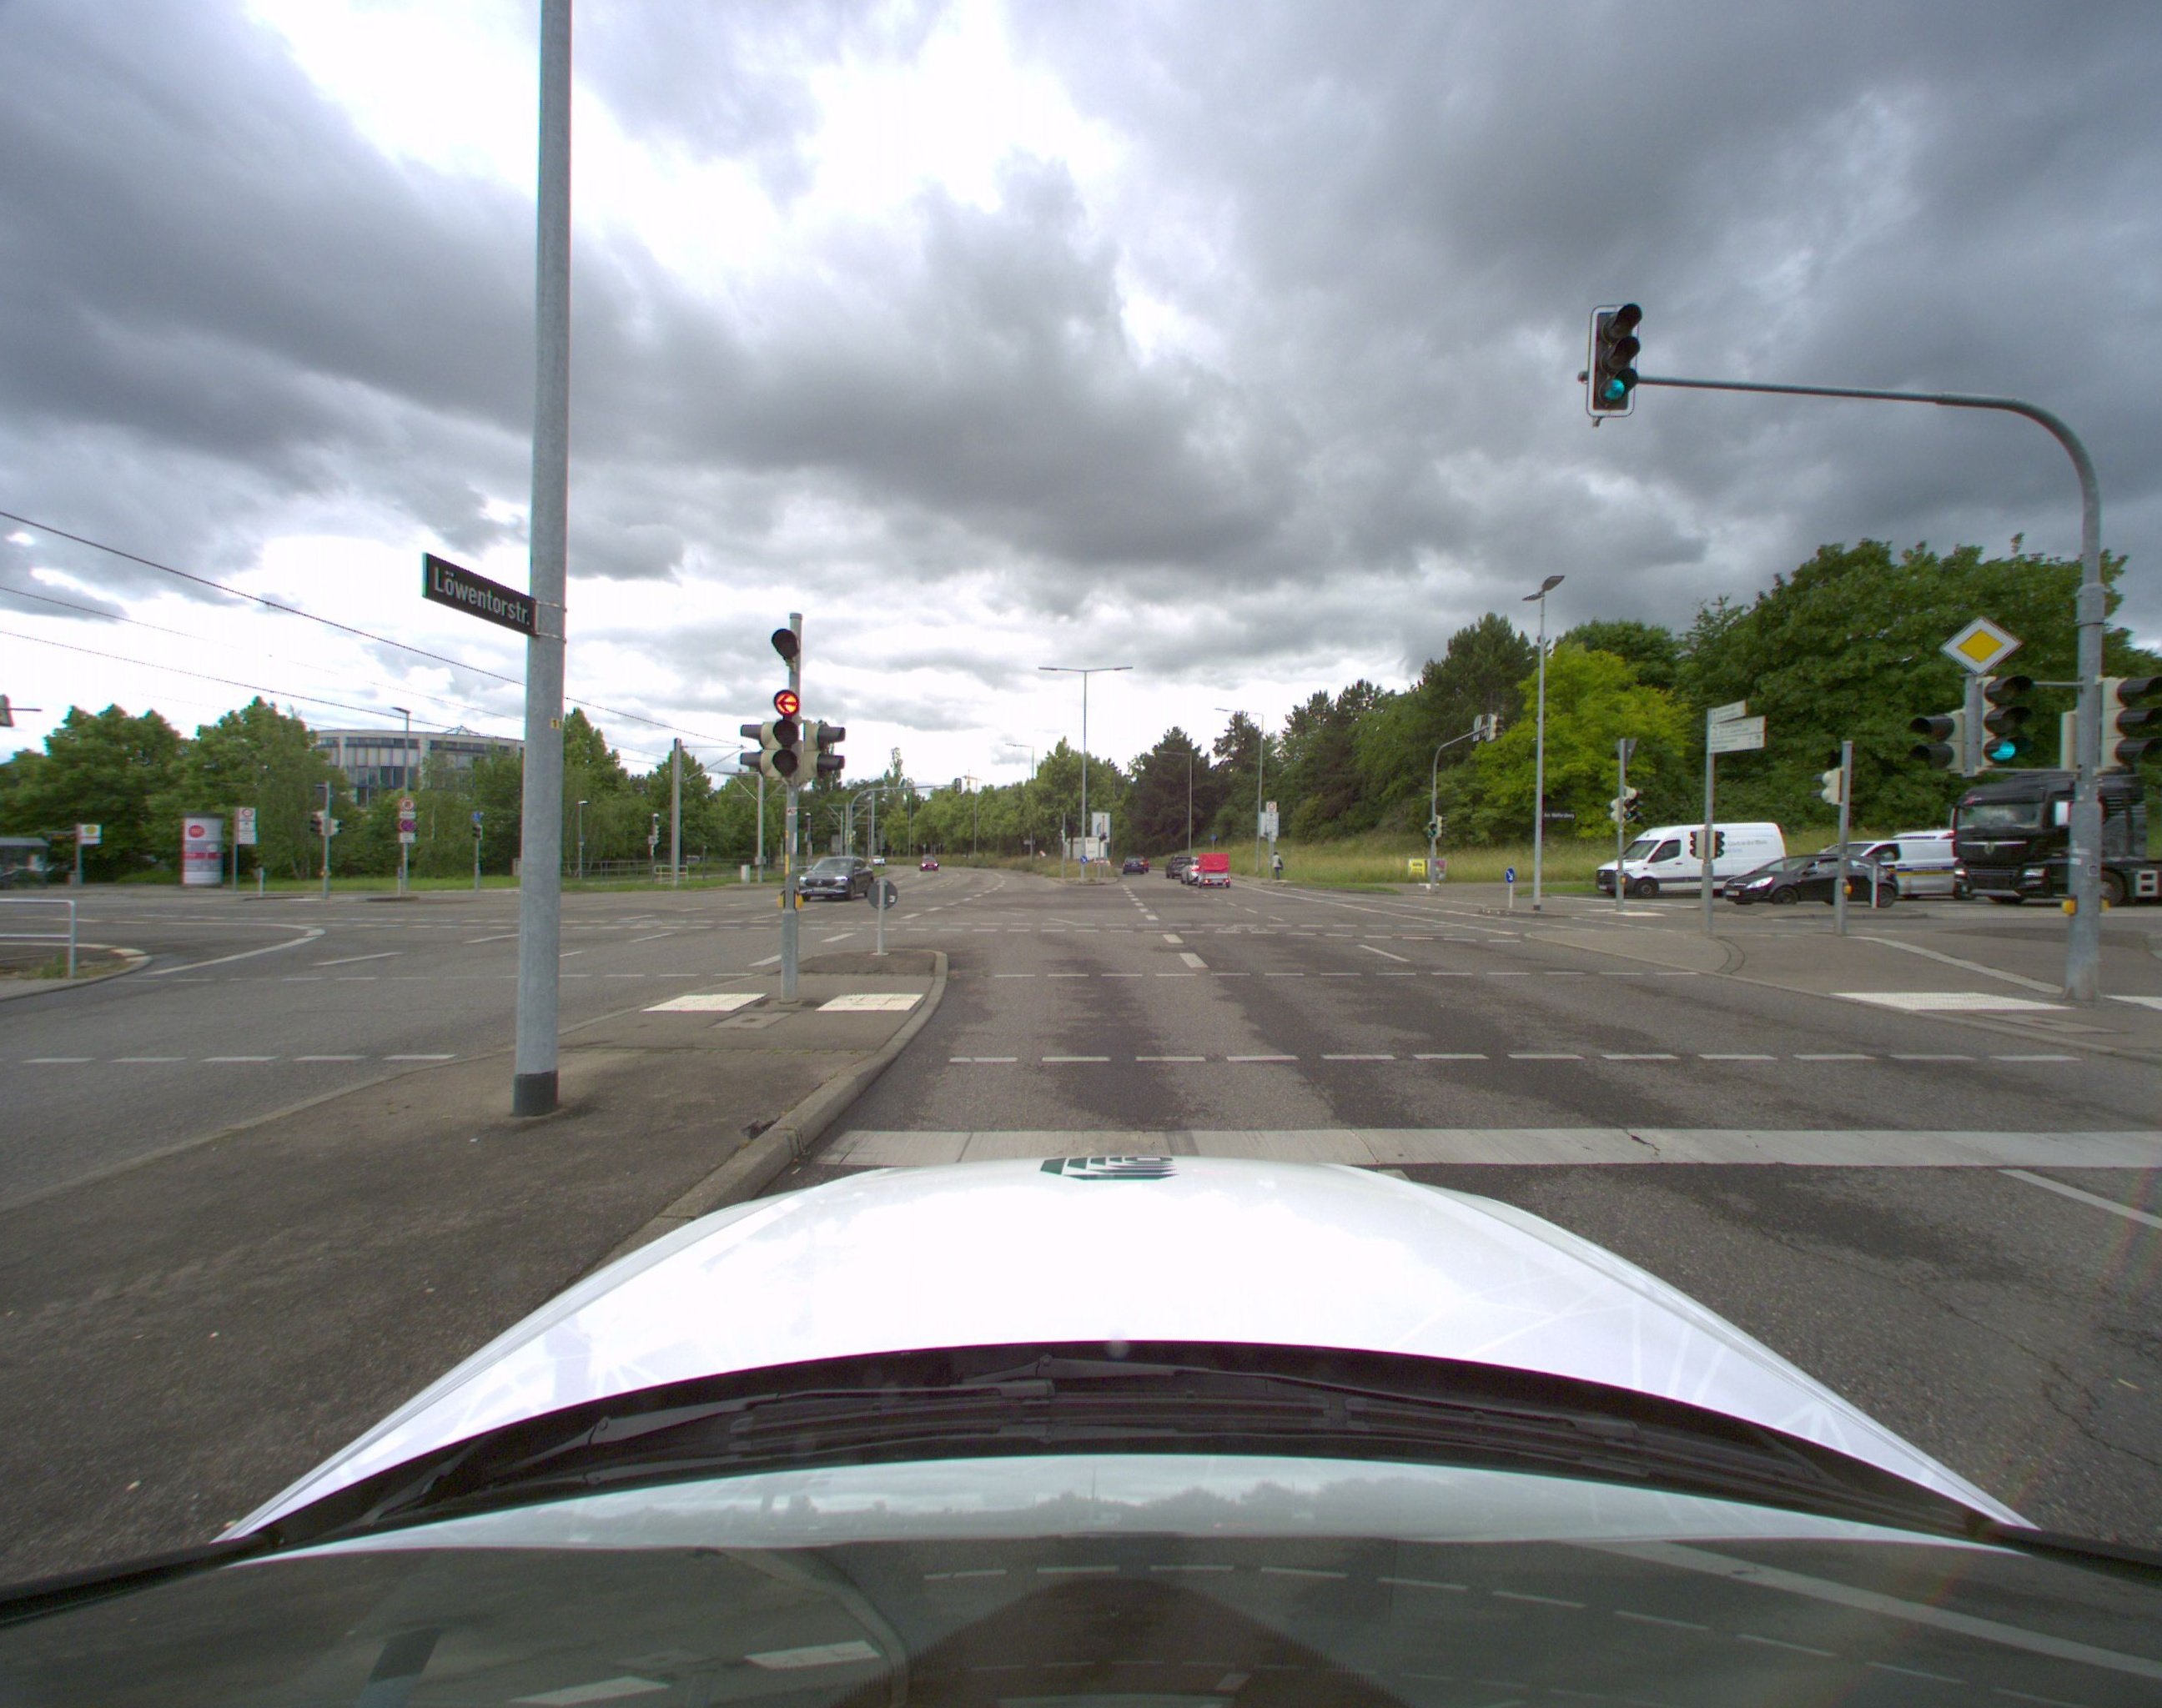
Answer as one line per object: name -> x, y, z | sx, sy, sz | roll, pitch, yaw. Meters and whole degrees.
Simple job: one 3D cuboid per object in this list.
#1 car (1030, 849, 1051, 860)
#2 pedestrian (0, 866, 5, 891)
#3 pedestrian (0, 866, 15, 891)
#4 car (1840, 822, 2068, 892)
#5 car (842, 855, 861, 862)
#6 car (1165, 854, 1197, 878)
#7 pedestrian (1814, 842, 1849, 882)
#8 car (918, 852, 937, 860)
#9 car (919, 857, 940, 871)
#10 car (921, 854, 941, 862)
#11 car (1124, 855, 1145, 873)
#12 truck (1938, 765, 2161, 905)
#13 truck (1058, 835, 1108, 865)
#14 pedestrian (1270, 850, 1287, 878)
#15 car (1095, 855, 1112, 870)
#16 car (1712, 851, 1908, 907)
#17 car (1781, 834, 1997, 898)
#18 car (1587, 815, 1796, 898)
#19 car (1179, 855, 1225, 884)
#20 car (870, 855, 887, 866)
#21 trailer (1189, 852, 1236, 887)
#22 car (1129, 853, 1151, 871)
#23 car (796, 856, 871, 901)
car -> -5.649, 0.040, 113.965 | 1.784, 1.546, 3.998 | -1, 0, -20
pedestrian -> -57.775, 1.296, 43.163 | 0.774, 1.303, 0.666 | 0, 0, 15
pedestrian -> -56.497, 1.289, 42.599 | 0.774, 1.304, 0.666 | 0, 0, 15
car -> 30.679, 0.110, 28.765 | 5.677, 2.289, 2.136 | -1, 0, 2
car -> -46.527, 0.905, 164.866 | 3.973, 1.546, 1.795 | 0, 0, 39
car -> 6.834, 0.802, 55.878 | 1.772, 1.546, 4.025 | 0, 0, 1
pedestrian -> 32.379, 0.342, 35.151 | 0.785, 1.676, 0.817 | 0, 0, 2
car -> -33.472, 0.413, 178.072 | 1.761, 1.546, 4.050 | 0, 0, 32
car -> -15.850, 1.010, 85.033 | 1.784, 1.443, 4.403 | -1, 0, -15
car -> -27.322, 0.729, 148.204 | 1.793, 1.546, 3.977 | -1, 0, -40
car -> 4.680, 0.841, 71.072 | 1.769, 1.546, 4.030 | 0, 0, 5
truck -> 27.930, -0.514, 22.271 | 6.027, 3.538, 2.729 | -1, 0, 2
truck -> 0.106, -0.476, 98.873 | 2.746, 3.328, 11.340 | 0, 0, -17
pedestrian -> 11.556, 0.569, 47.679 | 0.811, 1.627, 0.791 | 0, 0, 1
car -> 2.399, 0.880, 86.515 | 1.772, 1.546, 4.025 | 0, 0, 1
car -> 20.276, 0.670, 22.774 | 3.905, 1.436, 1.732 | -1, 0, 1
car -> 25.624, 0.360, 25.957 | 4.836, 1.896, 2.034 | -1, 0, 1
car -> 21.894, 0.095, 29.411 | 5.870, 2.781, 2.136 | -1, 0, 2
car -> 6.300, 0.791, 42.791 | 1.772, 1.421, 4.459 | 0, 0, 1
car -> -30.756, 1.009, 123.840 | 1.836, 1.629, 4.392 | -1, 0, -22
trailer -> 6.253, 0.707, 39.030 | 1.759, 1.616, 3.044 | 0, 0, 0
car -> 5.633, 0.731, 78.011 | 1.772, 1.546, 4.024 | -2, 0, 0
car -> -9.110, 0.850, 30.309 | 1.775, 1.546, 4.218 | 0, 0, -5
